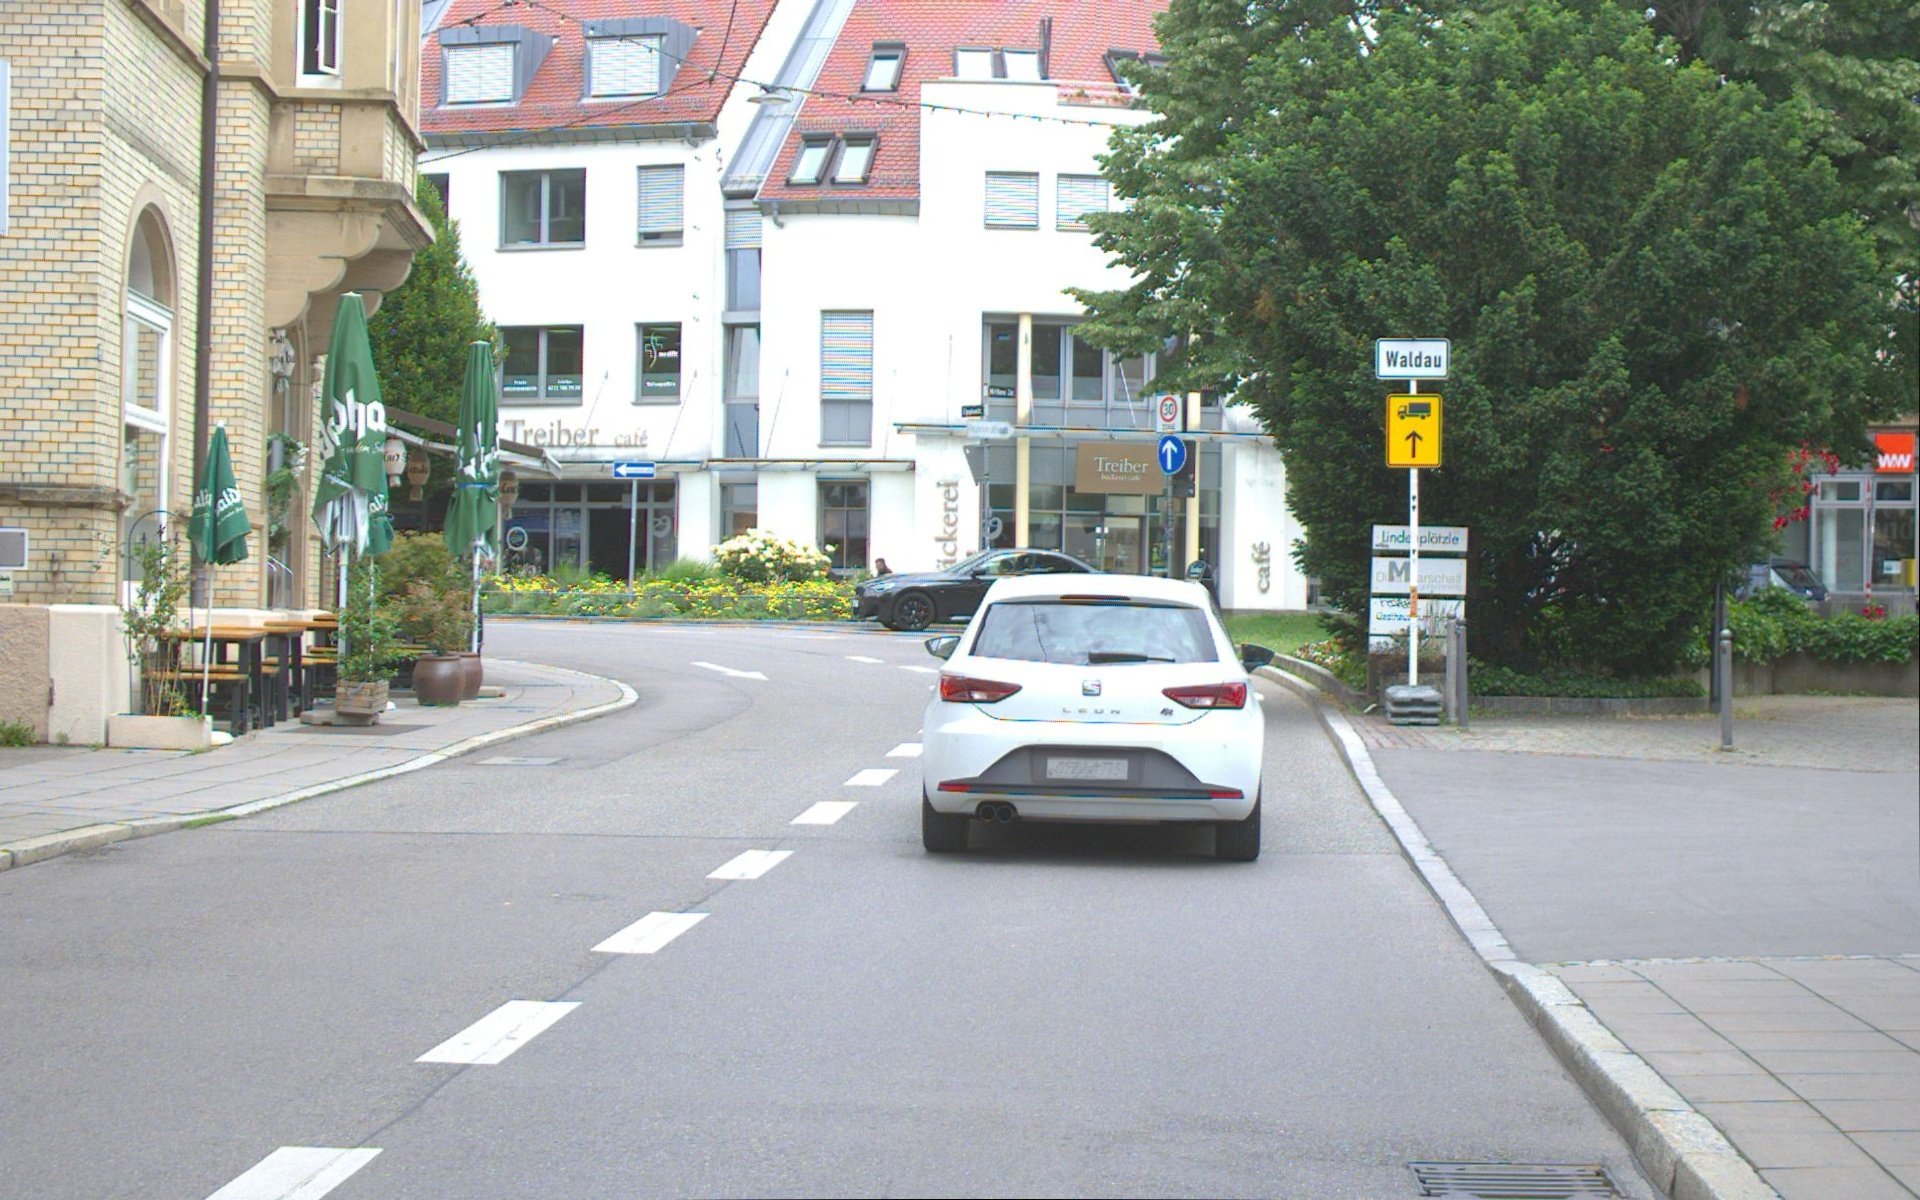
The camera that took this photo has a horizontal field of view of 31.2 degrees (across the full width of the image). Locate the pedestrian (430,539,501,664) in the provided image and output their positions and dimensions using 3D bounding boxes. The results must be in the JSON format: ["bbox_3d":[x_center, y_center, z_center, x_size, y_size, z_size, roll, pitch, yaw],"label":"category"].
[{"bbox_3d":[-6.172,0.014,42.971,0.834,1.547,0.627,1,0,-6],"label":"pedestrian"}]

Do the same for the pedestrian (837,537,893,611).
[{"bbox_3d":[-1.726,-0.474,62.313,0.712,1.308,0.801,1,1,-27],"label":"pedestrian"}]

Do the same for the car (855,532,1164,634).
[{"bbox_3d":[0.797,-0.287,56.005,4.902,1.552,2.249,1,1,1],"label":"car"}]

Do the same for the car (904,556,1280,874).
[{"bbox_3d":[0.752,0.535,18.667,1.812,1.475,3.870,1,1,3],"label":"car"}]
